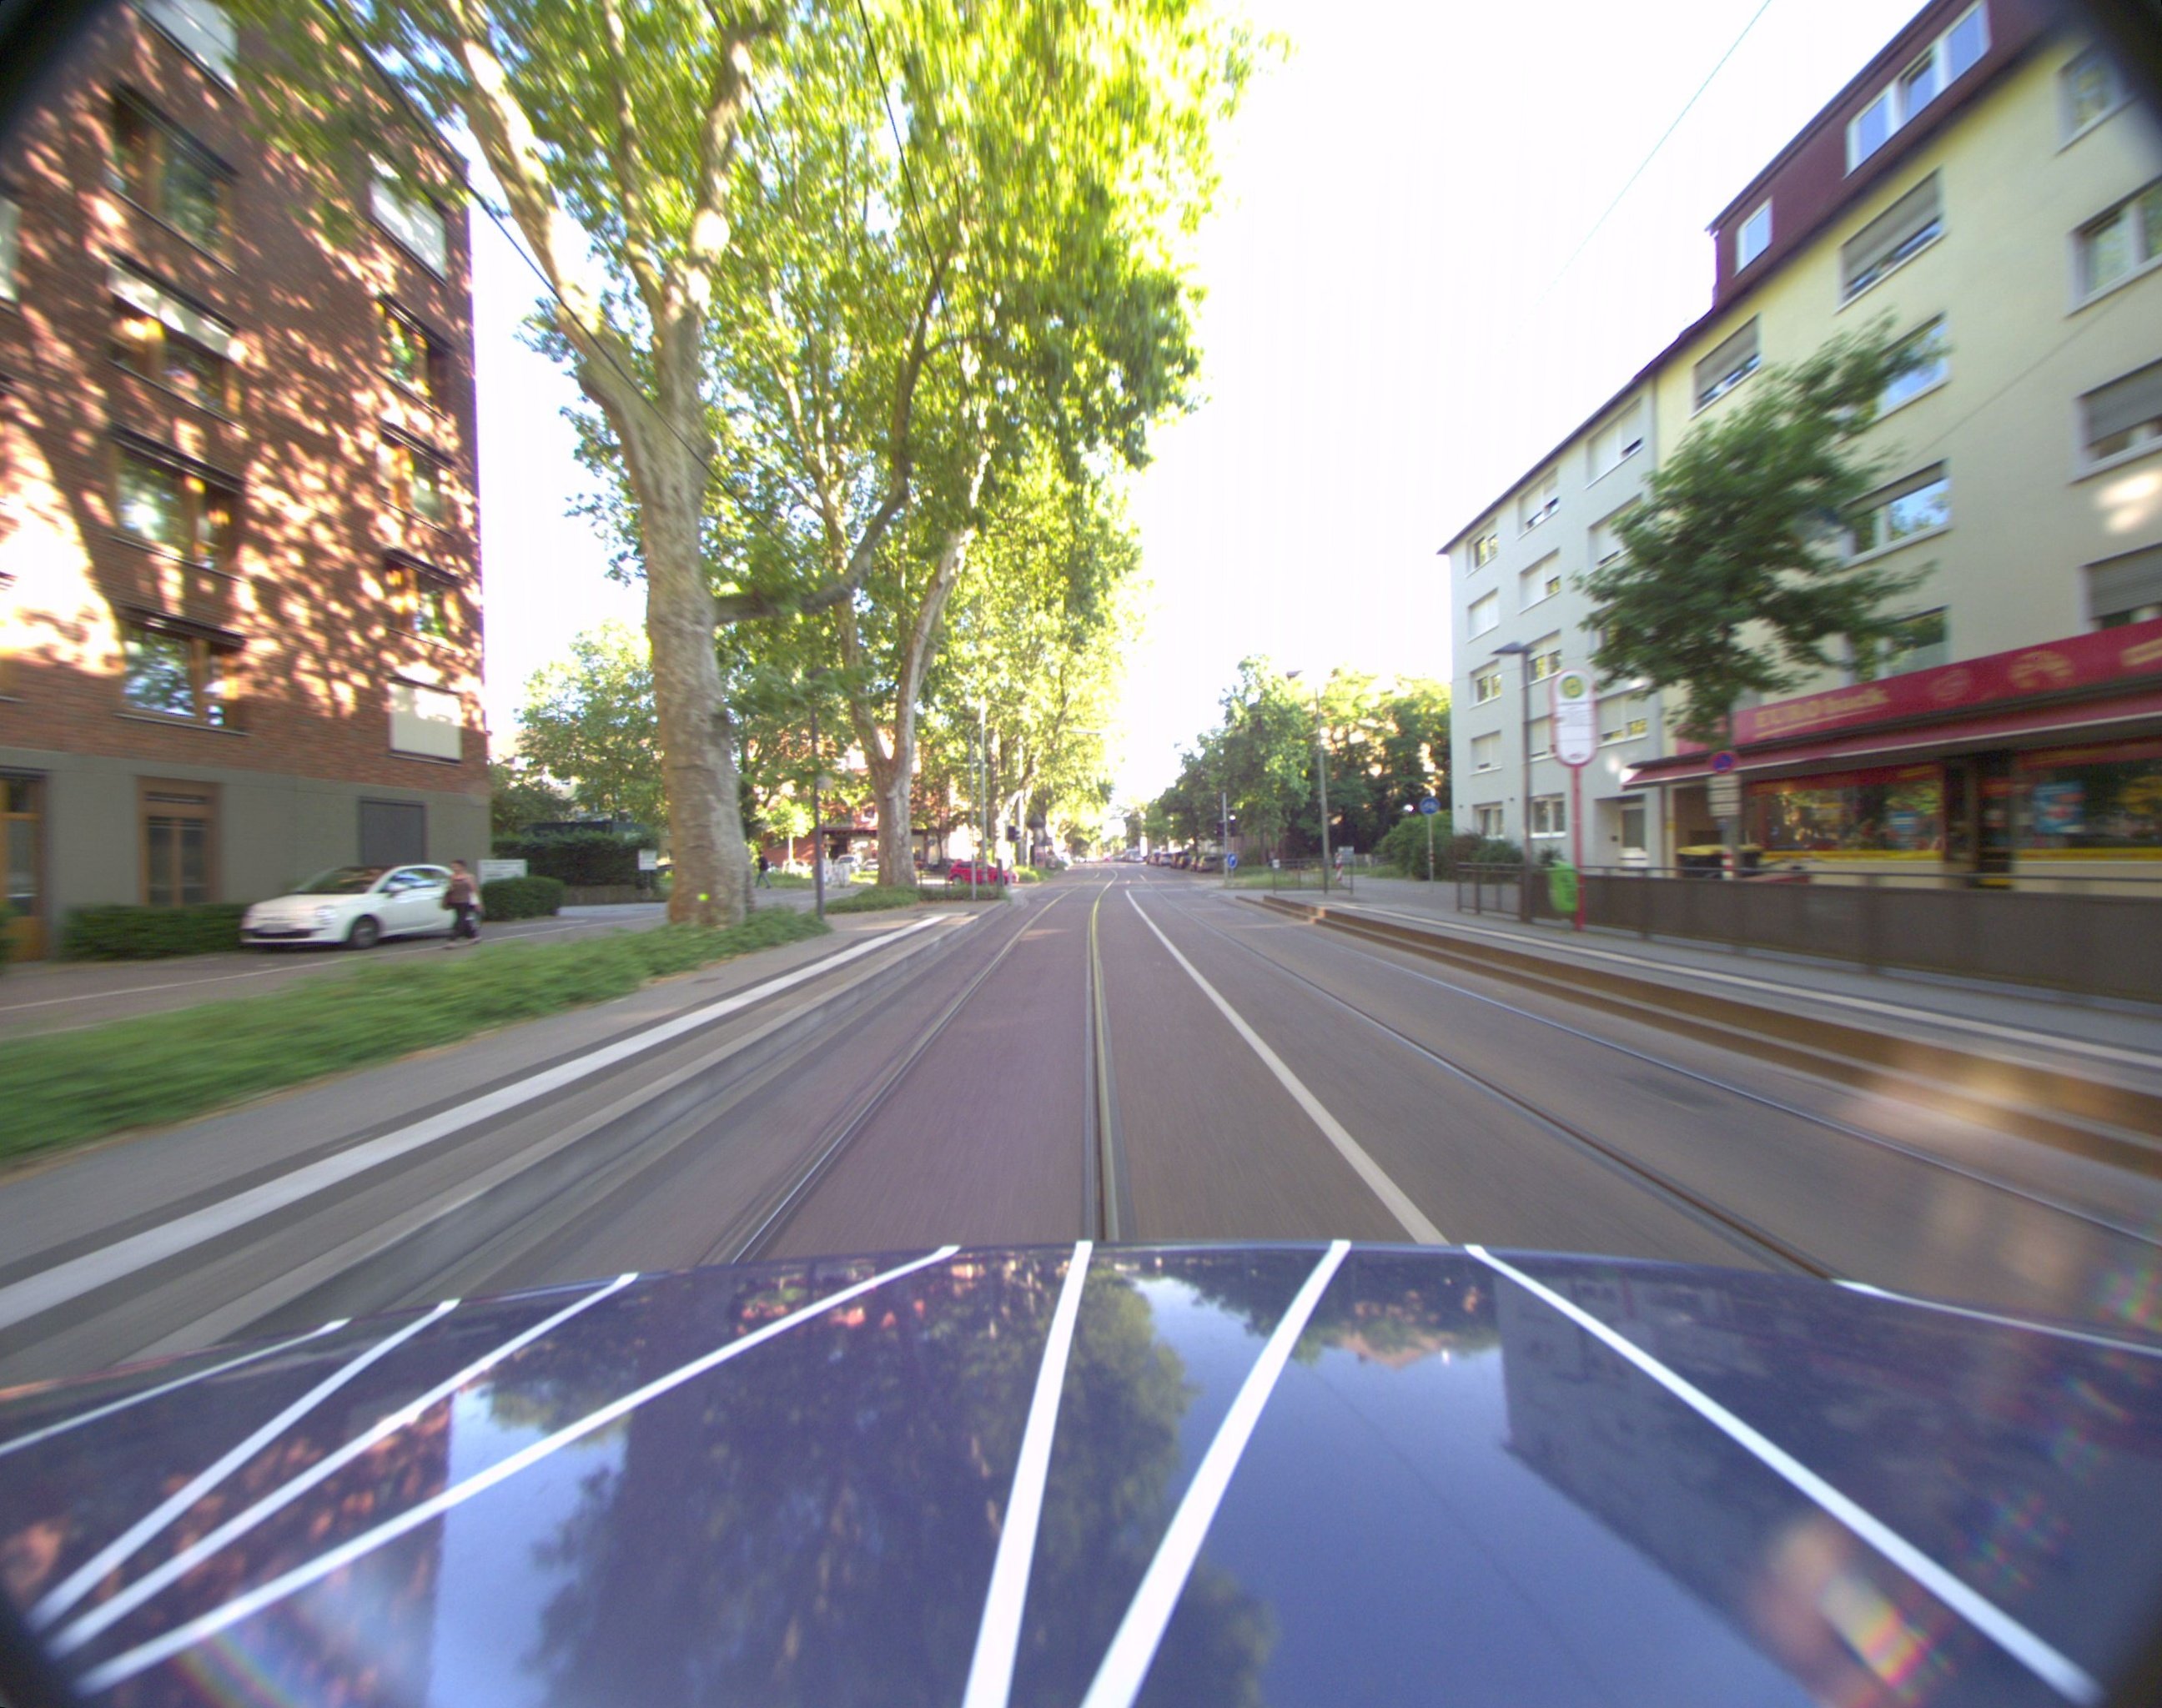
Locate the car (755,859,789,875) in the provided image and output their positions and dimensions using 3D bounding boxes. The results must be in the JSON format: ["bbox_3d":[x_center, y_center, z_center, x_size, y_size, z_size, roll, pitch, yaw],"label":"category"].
[{"bbox_3d":[-30.736,1.256,75.686,1.794,1.565,4.576,-1,0,-3],"label":"car"}]

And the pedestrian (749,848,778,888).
[{"bbox_3d":[-14.689,0.631,35.195,0.997,1.800,0.864,-1,1,-5],"label":"pedestrian"}]

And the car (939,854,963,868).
[{"bbox_3d":[-14.199,0.746,83.282,1.753,1.426,4.468,-1,0,1],"label":"car"}]

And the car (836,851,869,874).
[{"bbox_3d":[-22.680,0.809,75.714,1.917,2.171,5.083,-1,0,-2],"label":"car"}]

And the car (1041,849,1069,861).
[{"bbox_3d":[-4.527,0.205,131.748,4.859,2.002,2.194,0,0,-3],"label":"car"}]

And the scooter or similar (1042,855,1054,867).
[{"bbox_3d":[-3.437,0.768,79.809,1.211,1.233,0.569,-1,1,-1],"label":"scooter or similar"}]

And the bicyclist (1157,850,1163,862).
[{"bbox_3d":[9.559,0.206,92.179,0.642,1.447,0.837,-1,1,0],"label":"bicyclist"}]

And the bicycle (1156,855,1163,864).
[{"bbox_3d":[9.557,0.683,92.198,0.642,0.981,2.100,-1,1,0],"label":"bicycle"}]

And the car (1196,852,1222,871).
[{"bbox_3d":[11.219,0.610,66.888,1.703,1.541,4.537,-2,0,4],"label":"car"}]

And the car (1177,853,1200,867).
[{"bbox_3d":[11.625,0.596,82.587,1.858,1.450,4.269,-1,0,0],"label":"car"}]

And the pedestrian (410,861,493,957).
[{"bbox_3d":[-11.318,0.962,13.688,0.737,1.659,0.834,-1,1,1],"label":"pedestrian"}]

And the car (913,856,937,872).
[{"bbox_3d":[-15.526,1.001,75.980,1.794,1.565,4.576,-1,0,-5],"label":"car"}]

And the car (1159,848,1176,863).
[{"bbox_3d":[11.601,0.224,101.837,1.848,1.977,4.988,-1,0,2],"label":"car"}]

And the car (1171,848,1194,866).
[{"bbox_3d":[11.583,0.297,86.928,1.999,2.002,4.834,-1,0,0],"label":"car"}]

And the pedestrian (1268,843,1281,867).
[{"bbox_3d":[15.005,0.106,59.068,0.743,1.836,0.728,-3,1,-1],"label":"pedestrian"}]

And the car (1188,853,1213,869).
[{"bbox_3d":[11.286,0.632,71.881,1.662,1.437,3.949,-2,0,0],"label":"car"}]

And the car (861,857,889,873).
[{"bbox_3d":[-20.498,1.062,75.857,1.794,1.565,4.576,-1,0,-3],"label":"car"}]

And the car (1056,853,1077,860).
[{"bbox_3d":[-3.266,0.571,170.820,4.611,1.485,1.893,0,-1,3],"label":"car"}]

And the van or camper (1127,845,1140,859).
[{"bbox_3d":[12.152,-0.483,176.734,2.423,2.960,5.991,-5,0,2],"label":"van or camper"}]

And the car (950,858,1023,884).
[{"bbox_3d":[-5.395,0.952,43.564,3.893,1.415,1.649,-1,0,4],"label":"car"}]

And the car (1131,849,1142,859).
[{"bbox_3d":[11.883,0.022,163.998,1.928,2.034,4.941,-2,0,0],"label":"car"}]

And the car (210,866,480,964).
[{"bbox_3d":[-13.198,1.008,13.939,1.604,1.486,3.416,-1,0,-1],"label":"car"}]

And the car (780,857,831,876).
[{"bbox_3d":[-24.655,1.110,67.959,3.928,1.572,1.683,-1,0,-1],"label":"car"}]

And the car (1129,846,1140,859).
[{"bbox_3d":[11.902,-0.383,169.948,1.927,2.730,4.546,-5,0,1],"label":"car"}]

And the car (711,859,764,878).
[{"bbox_3d":[-30.543,1.260,67.549,3.928,1.572,1.683,-1,0,-1],"label":"car"}]

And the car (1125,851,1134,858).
[{"bbox_3d":[12.113,0.107,188.628,1.791,1.743,4.435,-2,0,0],"label":"car"}]

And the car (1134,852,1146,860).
[{"bbox_3d":[11.849,0.472,153.378,1.776,1.484,4.940,-2,0,-2],"label":"car"}]

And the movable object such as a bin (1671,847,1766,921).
[{"bbox_3d":[12.731,0.584,15.195,1.173,1.340,0.783,-5,1,-3],"label":"movable object such as a bin"}]

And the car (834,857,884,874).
[{"bbox_3d":[-19.841,1.052,67.989,3.928,1.444,1.683,-1,0,-1],"label":"car"}]

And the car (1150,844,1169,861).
[{"bbox_3d":[12.081,-0.231,117.127,2.310,2.493,5.343,-1,0,-1],"label":"car"}]

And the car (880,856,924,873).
[{"bbox_3d":[-15.929,0.904,67.739,3.547,1.444,1.683,-1,0,-1],"label":"car"}]

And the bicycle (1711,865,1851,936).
[{"bbox_3d":[12.062,0.780,13.134,1.537,1.069,0.885,-4,0,0],"label":"bicycle"}]

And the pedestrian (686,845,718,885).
[{"bbox_3d":[-18.285,0.513,36.659,0.985,1.853,1.015,2,0,-5],"label":"pedestrian"}]

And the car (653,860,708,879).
[{"bbox_3d":[-35.376,1.347,67.209,3.928,1.572,1.683,-1,0,-1],"label":"car"}]

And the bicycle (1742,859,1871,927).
[{"bbox_3d":[13.091,0.672,13.791,0.500,1.101,1.799,-5,0,-2],"label":"bicycle"}]
